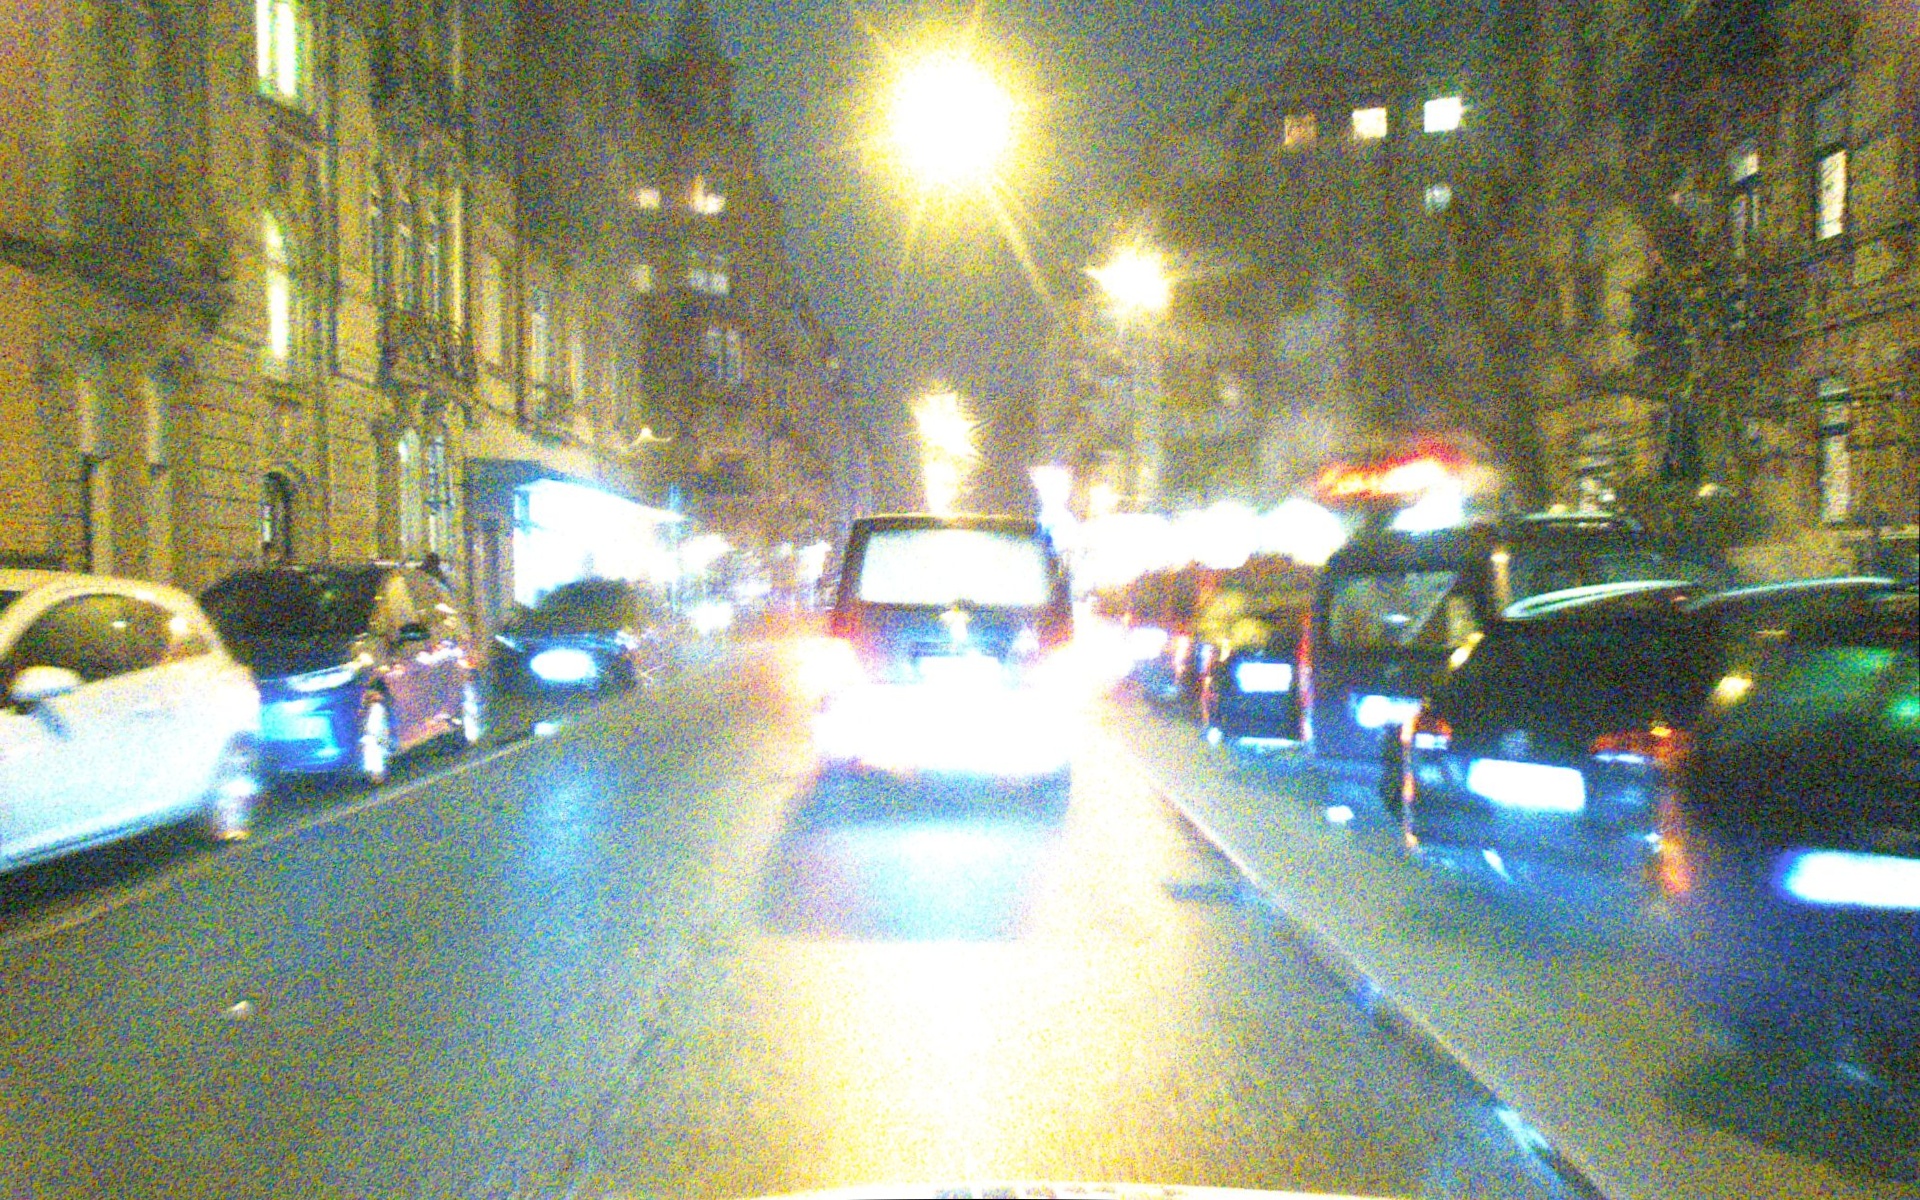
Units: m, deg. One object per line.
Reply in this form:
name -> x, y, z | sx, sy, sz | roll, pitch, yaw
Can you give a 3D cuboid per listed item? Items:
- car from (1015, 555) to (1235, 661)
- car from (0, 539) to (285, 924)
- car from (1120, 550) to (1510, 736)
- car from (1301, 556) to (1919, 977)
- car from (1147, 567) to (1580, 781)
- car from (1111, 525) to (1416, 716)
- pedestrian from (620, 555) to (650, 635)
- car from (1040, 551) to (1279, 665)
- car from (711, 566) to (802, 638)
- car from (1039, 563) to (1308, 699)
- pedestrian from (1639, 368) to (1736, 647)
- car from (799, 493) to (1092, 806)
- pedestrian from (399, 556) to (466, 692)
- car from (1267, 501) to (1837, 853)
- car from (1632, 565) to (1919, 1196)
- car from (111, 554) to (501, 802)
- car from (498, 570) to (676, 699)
car -> 3.156, 0.100, 31.273 | 3.959, 1.792, 1.856 | -3, 2, -38
car -> -4.533, 0.498, 7.272 | 1.554, 1.508, 3.793 | 1, 1, 0
car -> 3.777, 0.370, 17.338 | 3.958, 1.615, 1.856 | -3, 2, -37
car -> 3.484, 0.596, 7.923 | 3.527, 1.510, 1.704 | -3, 1, -37
car -> 3.438, 0.536, 13.890 | 3.527, 1.478, 1.651 | -3, 1, -36
car -> 3.640, 0.183, 19.618 | 3.529, 2.025, 1.584 | -3, 1, -38
pedestrian -> -7.918, -0.126, 40.301 | 0.648, 1.937, 0.538 | 1, 0, -5
car -> 3.481, 0.076, 28.518 | 3.959, 1.792, 1.856 | -2, 2, -38
car -> -5.117, 0.020, 42.044 | 1.845, 1.714, 4.000 | 1, 1, -1
car -> 2.949, 0.380, 22.533 | 3.529, 1.618, 1.584 | -3, 1, -38
pedestrian -> 9.550, -1.199, 21.738 | 0.873, 3.589, 0.791 | 1, 0, -1
car -> -0.123, 0.333, 13.065 | 1.953, 2.086, 3.999 | 0, 0, -1
pedestrian -> -6.841, 0.302, 21.453 | 0.687, 1.733, 0.539 | 1, 0, -1
car -> 3.883, 0.355, 10.627 | 3.711, 1.872, 1.703 | -3, 1, -38
car -> 3.748, 0.627, 5.009 | 3.471, 1.520, 1.434 | -3, 1, -33
car -> -4.760, 0.481, 12.671 | 1.623, 1.584, 4.073 | 1, 1, -4
car -> -4.968, 0.403, 22.534 | 1.777, 1.584, 4.073 | 1, 1, -4
